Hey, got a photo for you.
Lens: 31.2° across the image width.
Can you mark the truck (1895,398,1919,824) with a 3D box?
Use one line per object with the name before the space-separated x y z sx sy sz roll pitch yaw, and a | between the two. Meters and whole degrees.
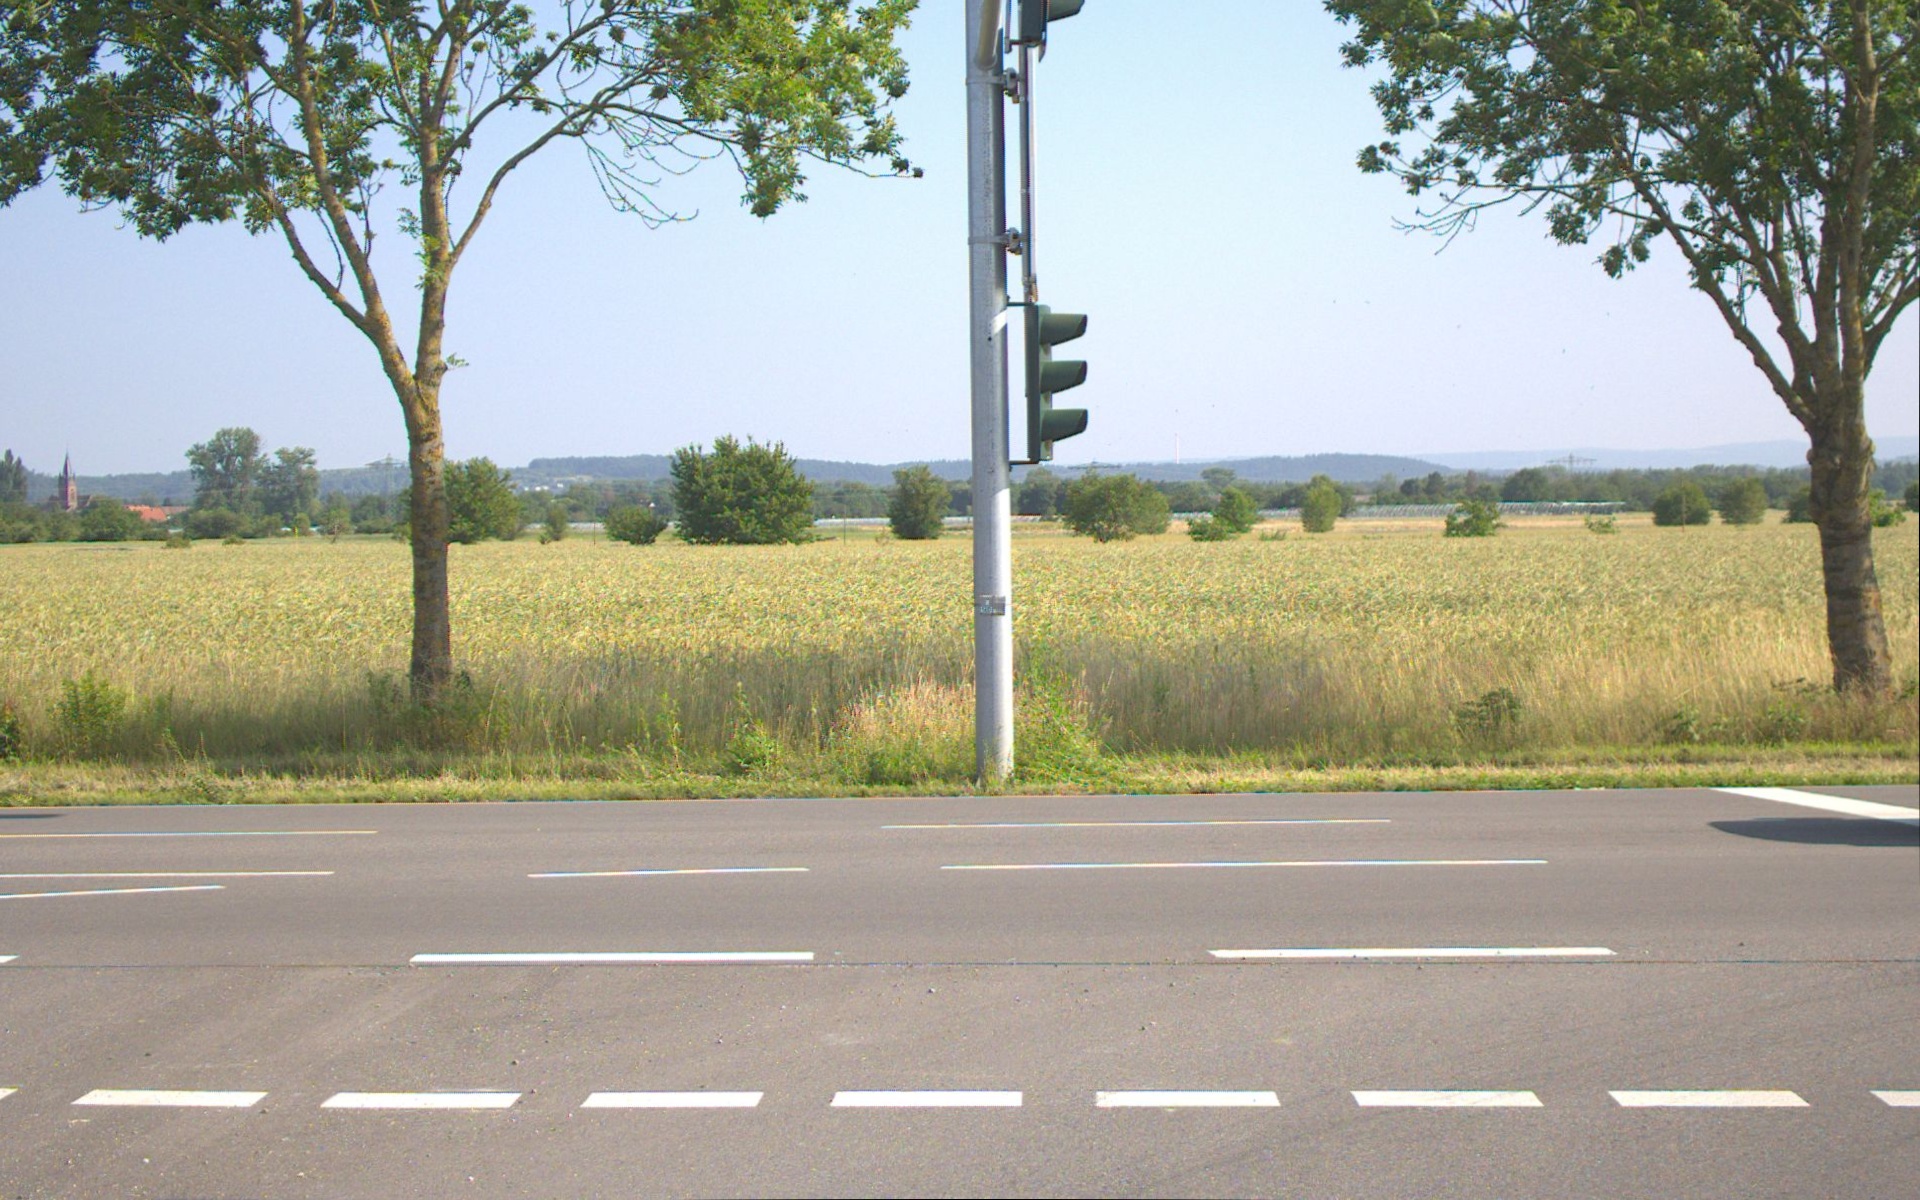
truck | 8.491 0.037 18.783 6.178 2.396 2.071 -1 0 -1
